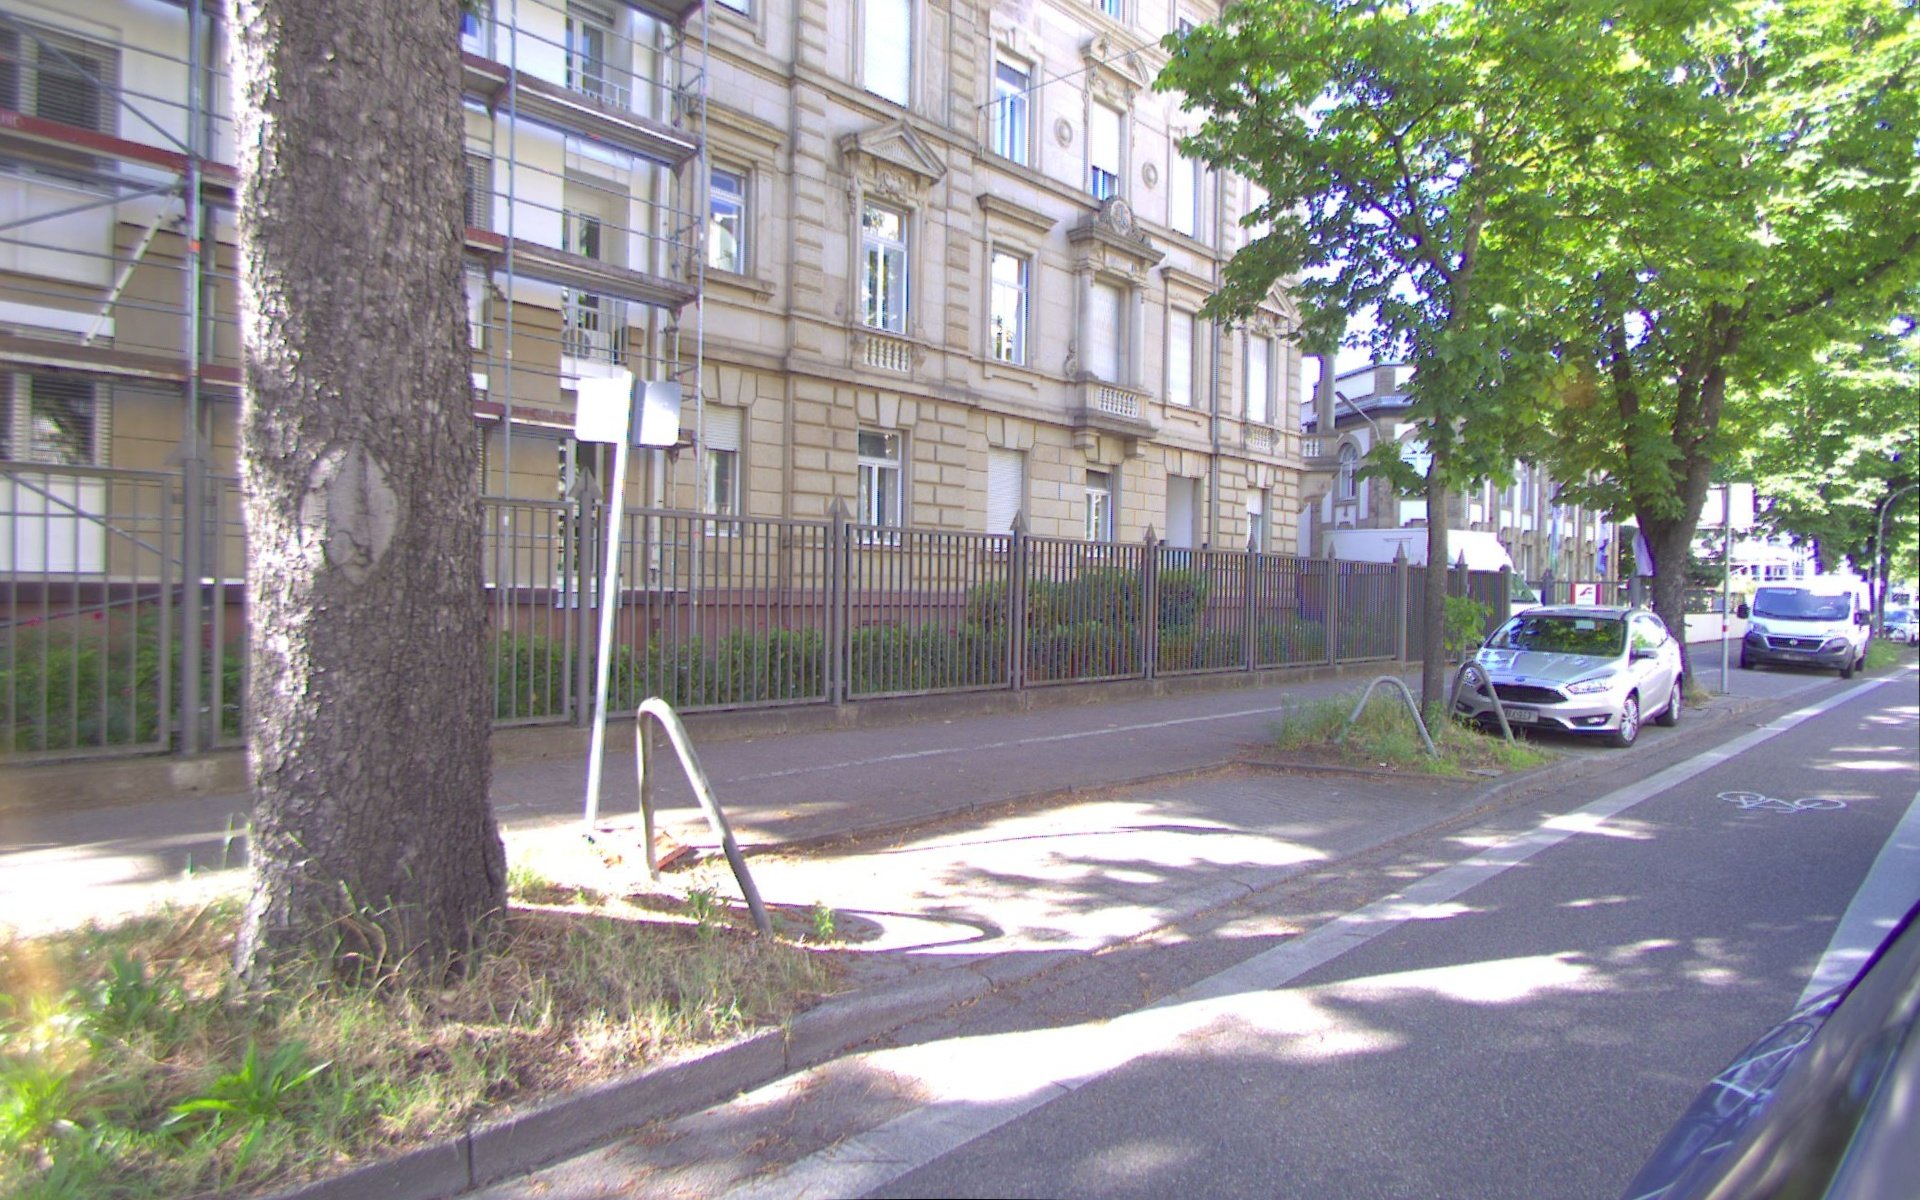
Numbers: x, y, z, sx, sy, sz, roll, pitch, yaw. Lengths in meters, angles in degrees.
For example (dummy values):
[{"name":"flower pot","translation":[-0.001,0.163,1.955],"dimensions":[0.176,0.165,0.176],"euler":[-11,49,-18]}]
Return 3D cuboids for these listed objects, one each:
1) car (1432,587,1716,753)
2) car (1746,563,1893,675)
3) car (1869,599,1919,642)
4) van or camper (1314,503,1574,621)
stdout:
[{"name":"car","translation":[7.509,0.668,12.197],"dimensions":[4.294,1.562,1.874],"euler":[-1,3,-44]},{"name":"car","translation":[20.974,0.353,24.594],"dimensions":[5.710,2.371,2.129],"euler":[-1,3,-44]},{"name":"car","translation":[37.431,0.778,40.079],"dimensions":[4.035,1.569,1.863],"euler":[-1,1,-44]},{"name":"van or camper","translation":[12.247,-0.888,26.373],"dimensions":[2.078,2.660,6.751],"euler":[0,0,-17]}]
